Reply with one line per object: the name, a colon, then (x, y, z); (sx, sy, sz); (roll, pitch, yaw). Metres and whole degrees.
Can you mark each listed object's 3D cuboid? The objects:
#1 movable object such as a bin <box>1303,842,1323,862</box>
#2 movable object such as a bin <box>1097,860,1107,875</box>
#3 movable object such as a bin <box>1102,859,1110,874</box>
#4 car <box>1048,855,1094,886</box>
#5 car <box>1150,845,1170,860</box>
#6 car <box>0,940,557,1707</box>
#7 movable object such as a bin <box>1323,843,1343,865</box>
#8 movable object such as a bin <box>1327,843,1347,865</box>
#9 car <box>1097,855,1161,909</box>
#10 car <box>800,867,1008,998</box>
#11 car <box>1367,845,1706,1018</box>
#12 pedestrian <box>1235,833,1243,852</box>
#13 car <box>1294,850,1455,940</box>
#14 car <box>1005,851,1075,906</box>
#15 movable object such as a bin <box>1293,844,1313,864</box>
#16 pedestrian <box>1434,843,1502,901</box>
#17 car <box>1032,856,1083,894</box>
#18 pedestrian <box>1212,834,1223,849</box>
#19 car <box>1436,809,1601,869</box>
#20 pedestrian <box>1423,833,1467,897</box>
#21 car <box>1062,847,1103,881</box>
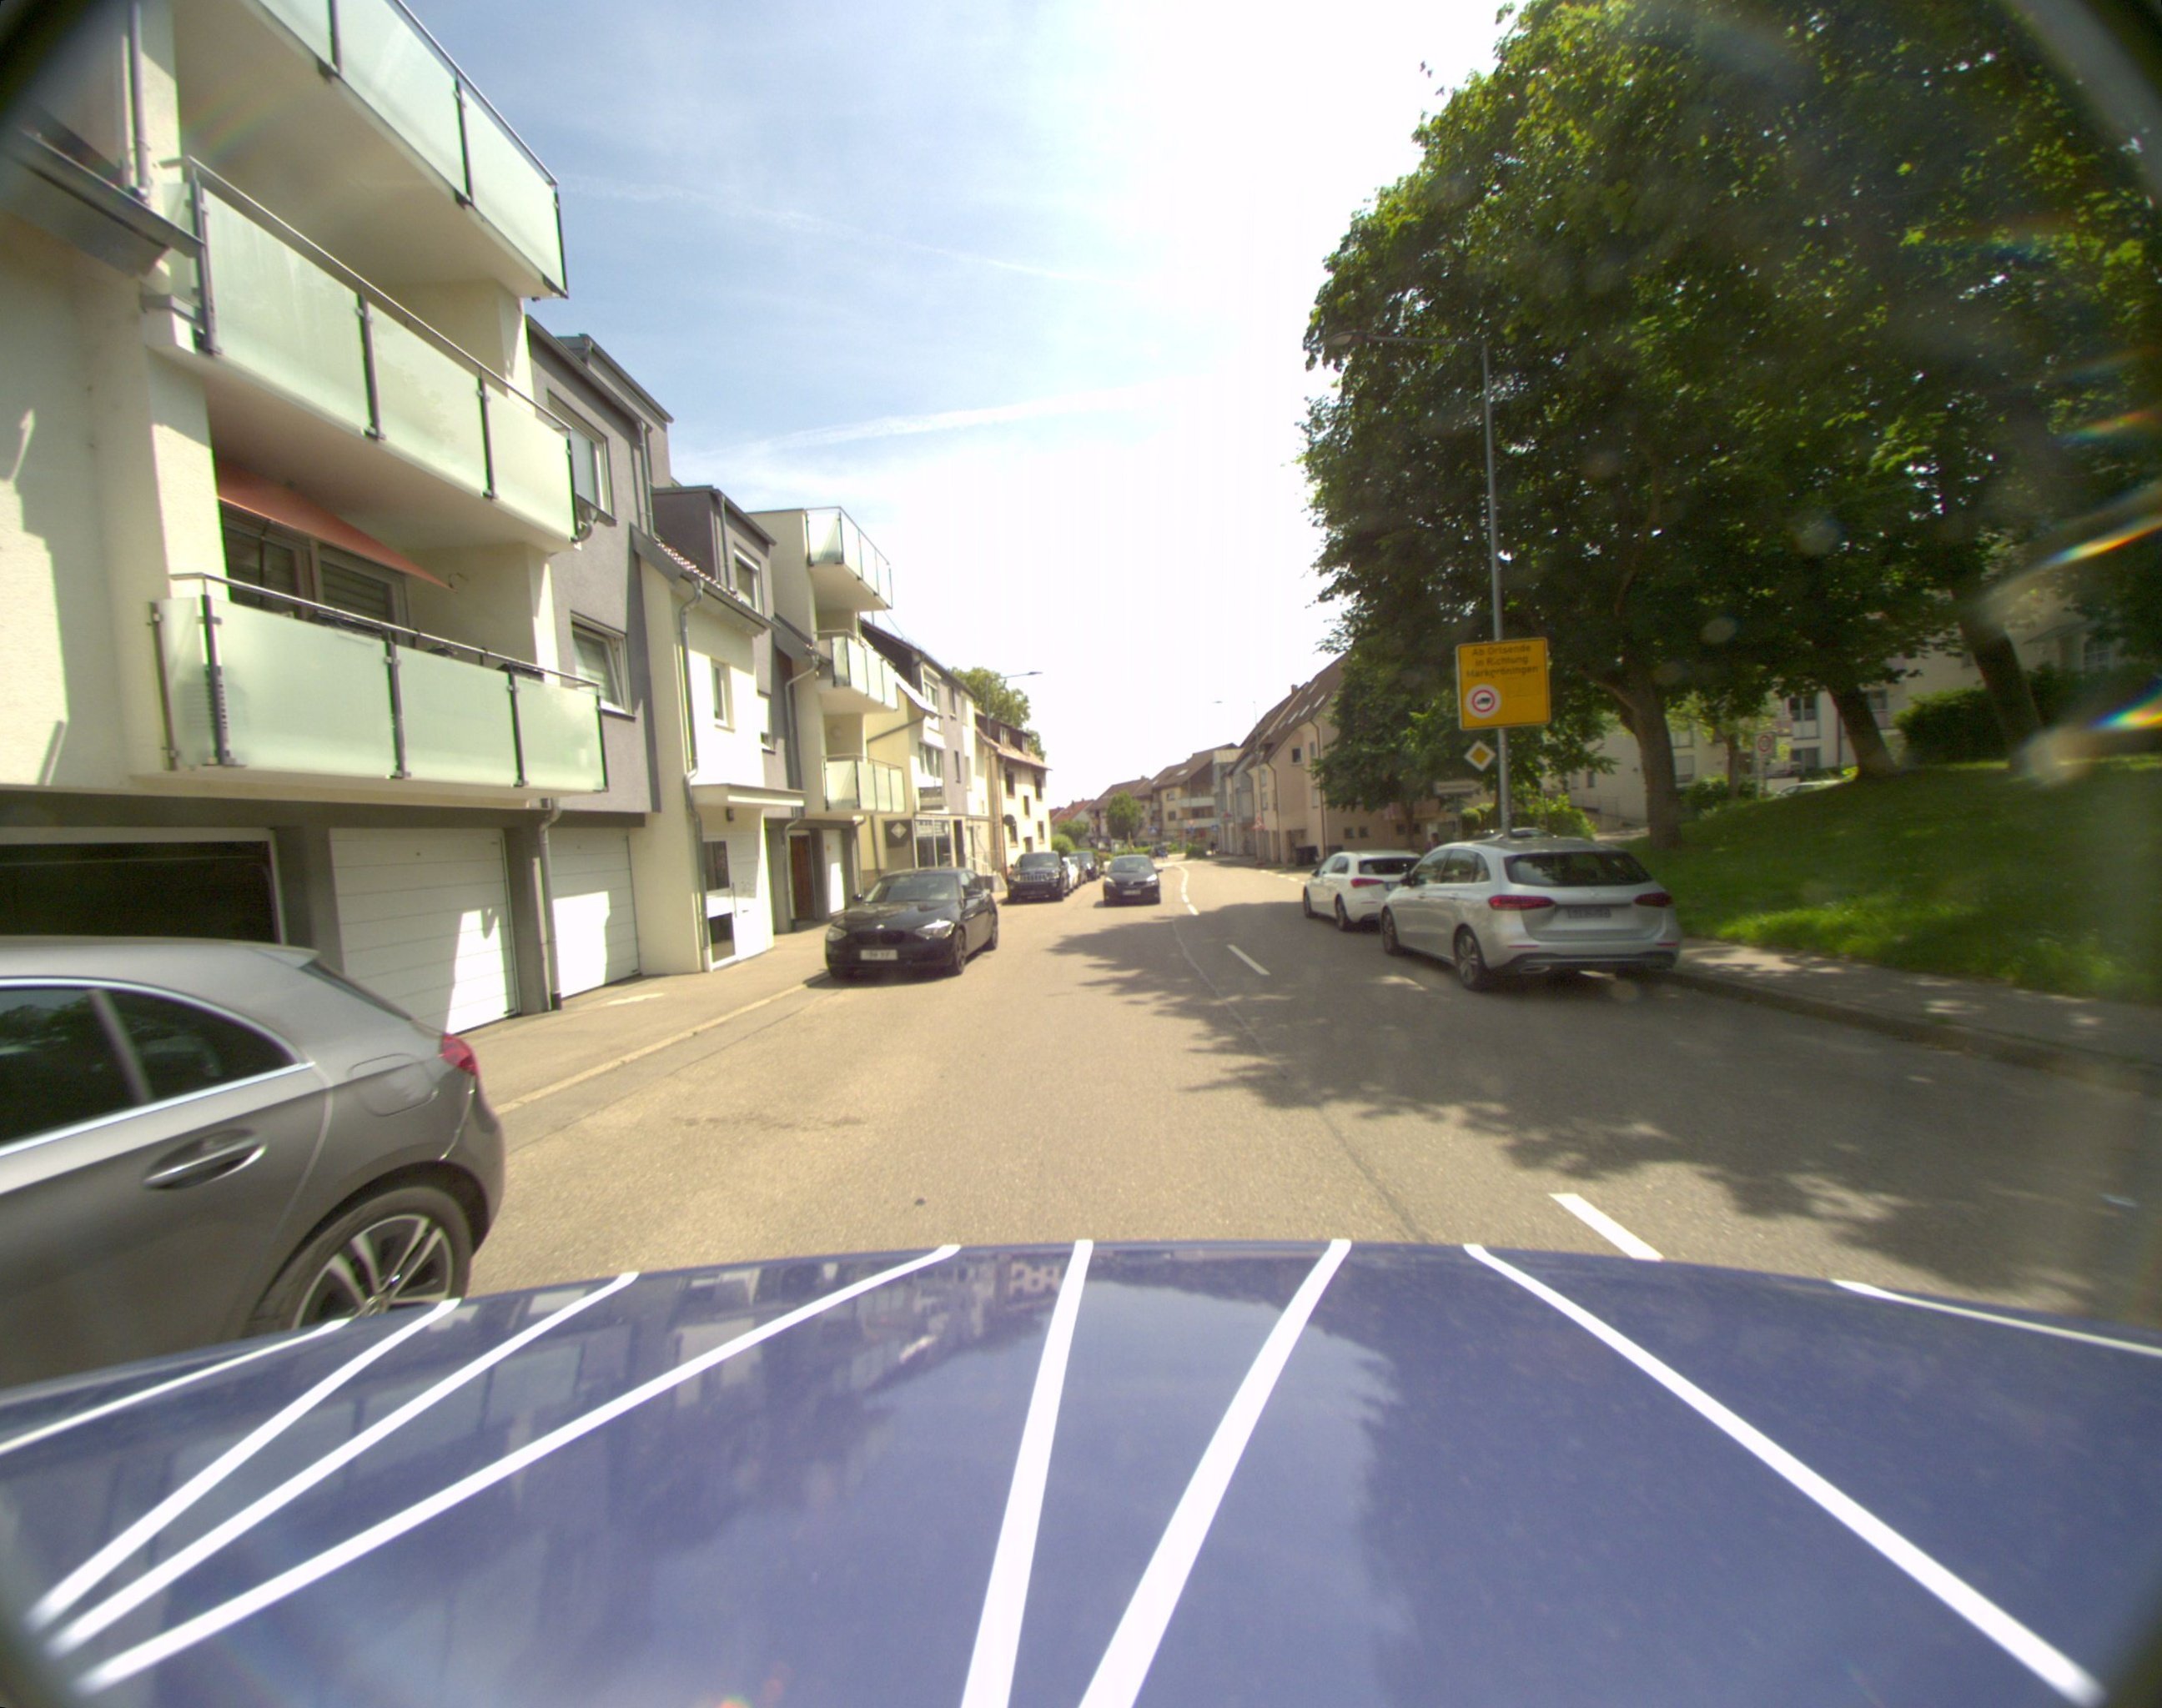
movable object such as a bin: (12.574, -0.103, 41.214); (0.802, 0.994, 0.805); (-5, 1, 8)
movable object such as a bin: (1.487, 0.963, 54.060); (0.525, 0.987, 0.502); (-4, 0, 19)
movable object such as a bin: (1.799, 0.902, 54.772); (0.501, 0.987, 0.503); (-4, 1, -3)
car: (-0.471, 0.803, 39.027); (1.792, 1.412, 4.359); (-3, 0, 6)
car: (9.199, -0.241, 89.013); (1.756, 1.575, 3.944); (-4, 1, -1)
car: (-2.811, 1.038, 0.503); (1.798, 1.394, 4.412); (-2, 0, 0)
movable object such as a bin: (12.969, -0.006, 39.078); (0.773, 0.995, 0.609); (-7, 2, 8)
movable object such as a bin: (12.923, 0.006, 38.334); (0.773, 0.995, 0.609); (-7, 2, 8)
car: (1.526, 0.797, 23.603); (1.725, 1.448, 4.431); (-2, -1, 5)
car: (-2.377, 1.007, 11.435); (1.801, 1.416, 4.291); (-2, 1, 4)
car: (4.843, 0.685, 8.889); (1.776, 1.518, 4.223); (-1, 0, 6)
pedestrian: (14.403, -1.068, 69.234); (0.576, 1.699, 0.579); (-5, 1, 7)
car: (5.509, 0.680, 14.883); (1.758, 1.458, 4.364); (-1, 0, 5)
car: (-1.374, 0.809, 27.615); (1.958, 1.706, 4.717); (-3, 0, 3)
movable object such as a bin: (11.976, 0.004, 41.001); (0.853, 0.994, 0.694); (-4, 1, 7)
pedestrian: (9.289, 0.430, 18.253); (1.238, 1.262, 0.647); (-5, 1, 9)
car: (-0.957, 0.877, 33.579); (1.793, 1.447, 4.717); (-3, 0, 3)
pedestrian: (14.036, -1.230, 77.995); (0.802, 1.469, 0.956); (-5, 1, -4)
car: (15.179, -0.512, 26.436); (4.791, 1.471, 1.998); (-7, 2, -13)
pedestrian: (9.507, 0.283, 19.855); (0.733, 1.607, 0.628); (-5, 1, -15)
car: (0.136, 0.534, 44.344); (1.847, 1.660, 4.656); (-4, 1, 6)
